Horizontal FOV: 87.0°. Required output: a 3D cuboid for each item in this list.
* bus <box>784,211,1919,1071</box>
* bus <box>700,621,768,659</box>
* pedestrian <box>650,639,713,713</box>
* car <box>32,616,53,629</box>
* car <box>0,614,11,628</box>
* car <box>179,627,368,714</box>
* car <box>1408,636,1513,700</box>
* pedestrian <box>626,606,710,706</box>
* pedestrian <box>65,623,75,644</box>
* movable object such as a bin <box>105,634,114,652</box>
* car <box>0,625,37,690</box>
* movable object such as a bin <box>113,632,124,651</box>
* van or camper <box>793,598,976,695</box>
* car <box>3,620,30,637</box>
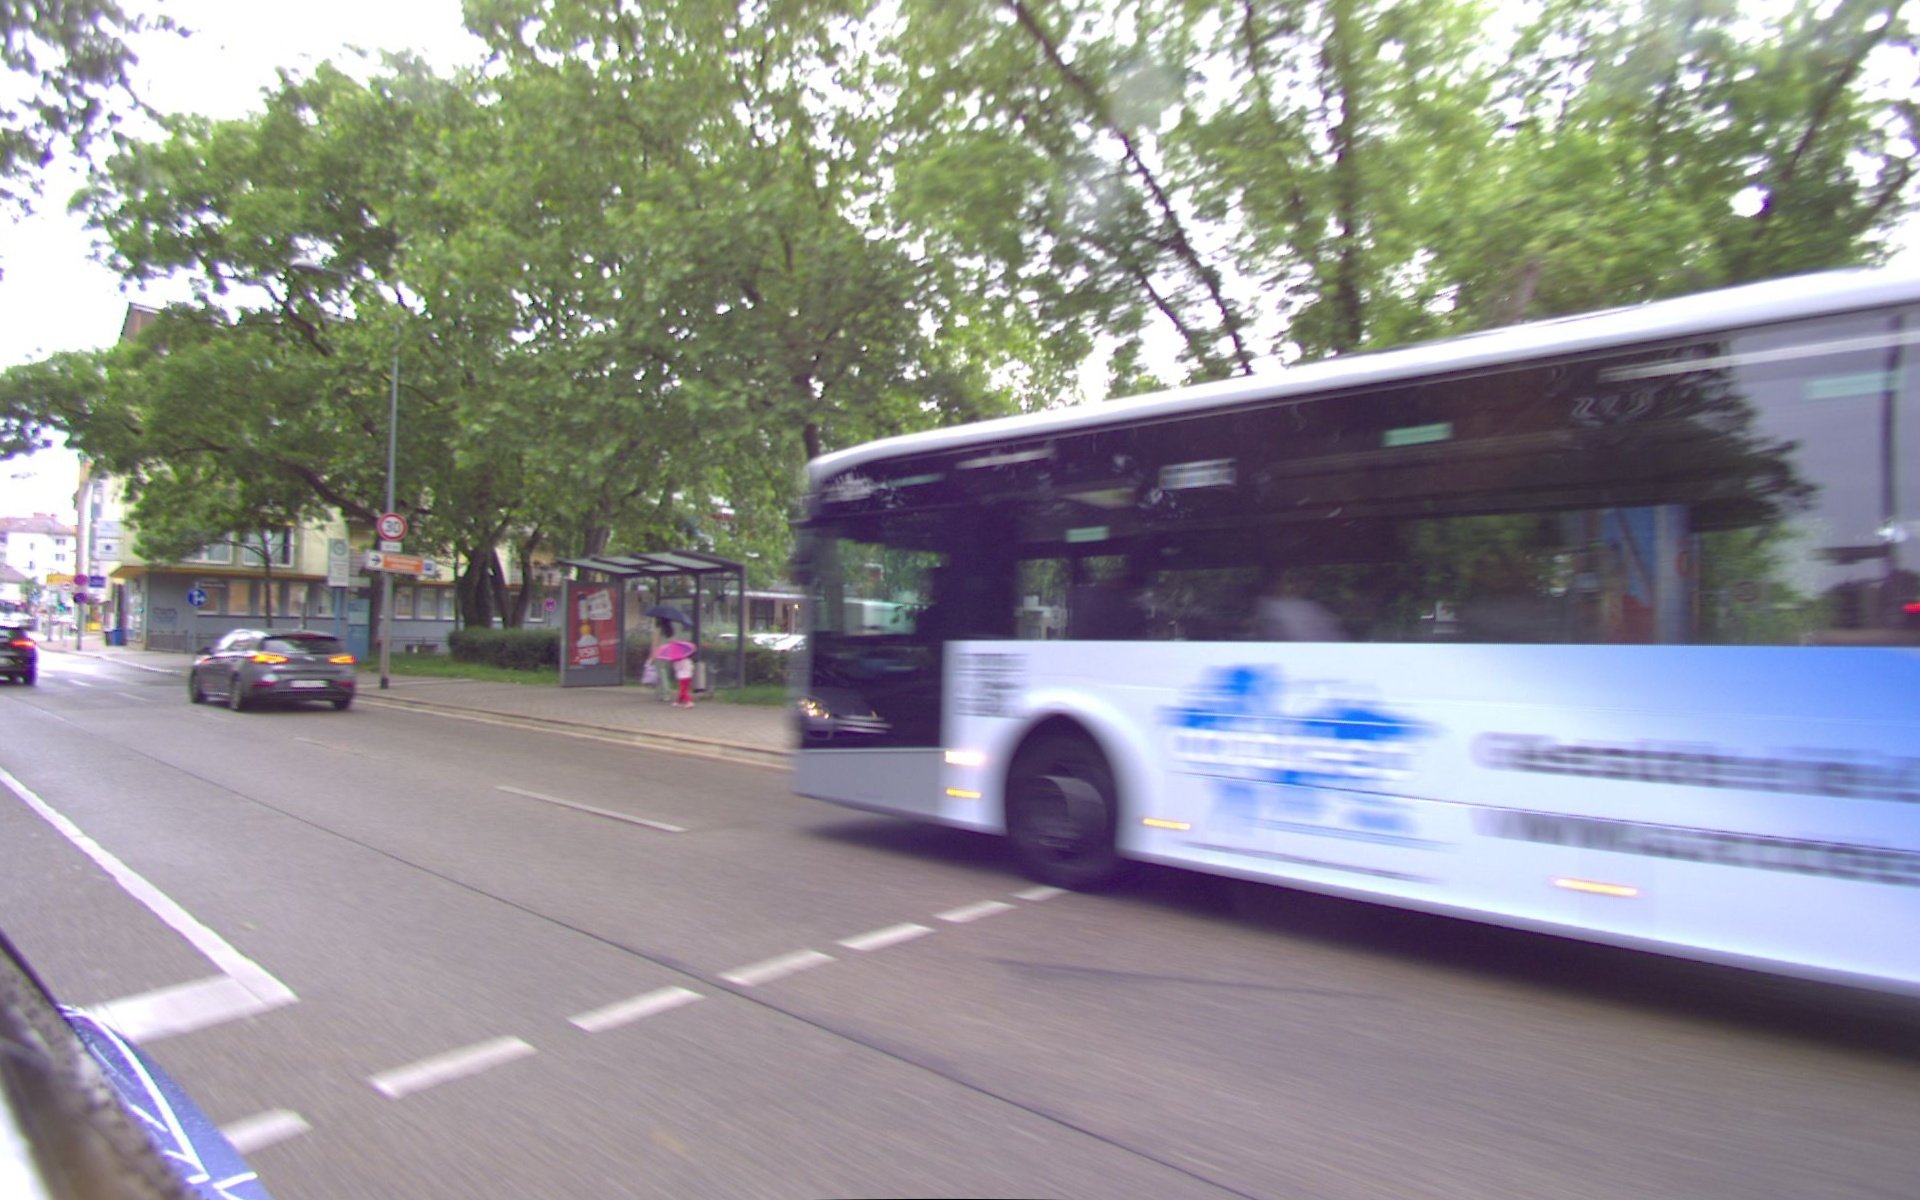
[{"bbox_3d":[4.055,0.182,4.721,11.774,2.997,2.738,-1,-3,41],"label":"bus"},{"bbox_3d":[-12.150,2.180,54.548,1.703,1.939,3.698,0,-3,24],"label":"bus"},{"bbox_3d":[-4.695,1.264,17.087,0.826,1.183,0.677,-1,-1,40],"label":"pedestrian"},{"bbox_3d":[-129.186,3.170,142.456,4.001,1.670,1.842,-2,-4,44],"label":"car"},{"bbox_3d":[-132.984,2.860,140.128,4.001,1.866,1.971,-2,-4,44],"label":"car"},{"bbox_3d":[-12.764,1.259,18.742,4.027,1.428,1.790,-1,-5,40],"label":"car"},{"bbox_3d":[13.345,1.772,26.877,1.815,1.527,3.950,0,-3,37],"label":"car"},{"bbox_3d":[-5.378,1.002,18.607,1.208,1.755,0.982,-1,-1,40],"label":"pedestrian"},{"bbox_3d":[-81.841,3.072,93.078,0.586,1.858,0.565,4,-4,-42],"label":"pedestrian"},{"bbox_3d":[-47.577,2.398,56.613,0.333,1.037,0.354,4,-4,-42],"label":"movable object such as a bin"},{"bbox_3d":[-22.427,1.270,23.084,3.453,1.426,1.607,-1,-4,41],"label":"car"},{"bbox_3d":[-47.303,2.350,56.867,0.409,1.037,0.354,4,-4,-42],"label":"movable object such as a bin"},{"bbox_3d":[-1.773,1.153,25.054,2.046,2.186,4.439,0,-3,38],"label":"van or camper"},{"bbox_3d":[-99.990,2.982,107.200,4.001,1.730,1.863,-2,-4,44],"label":"car"}]
